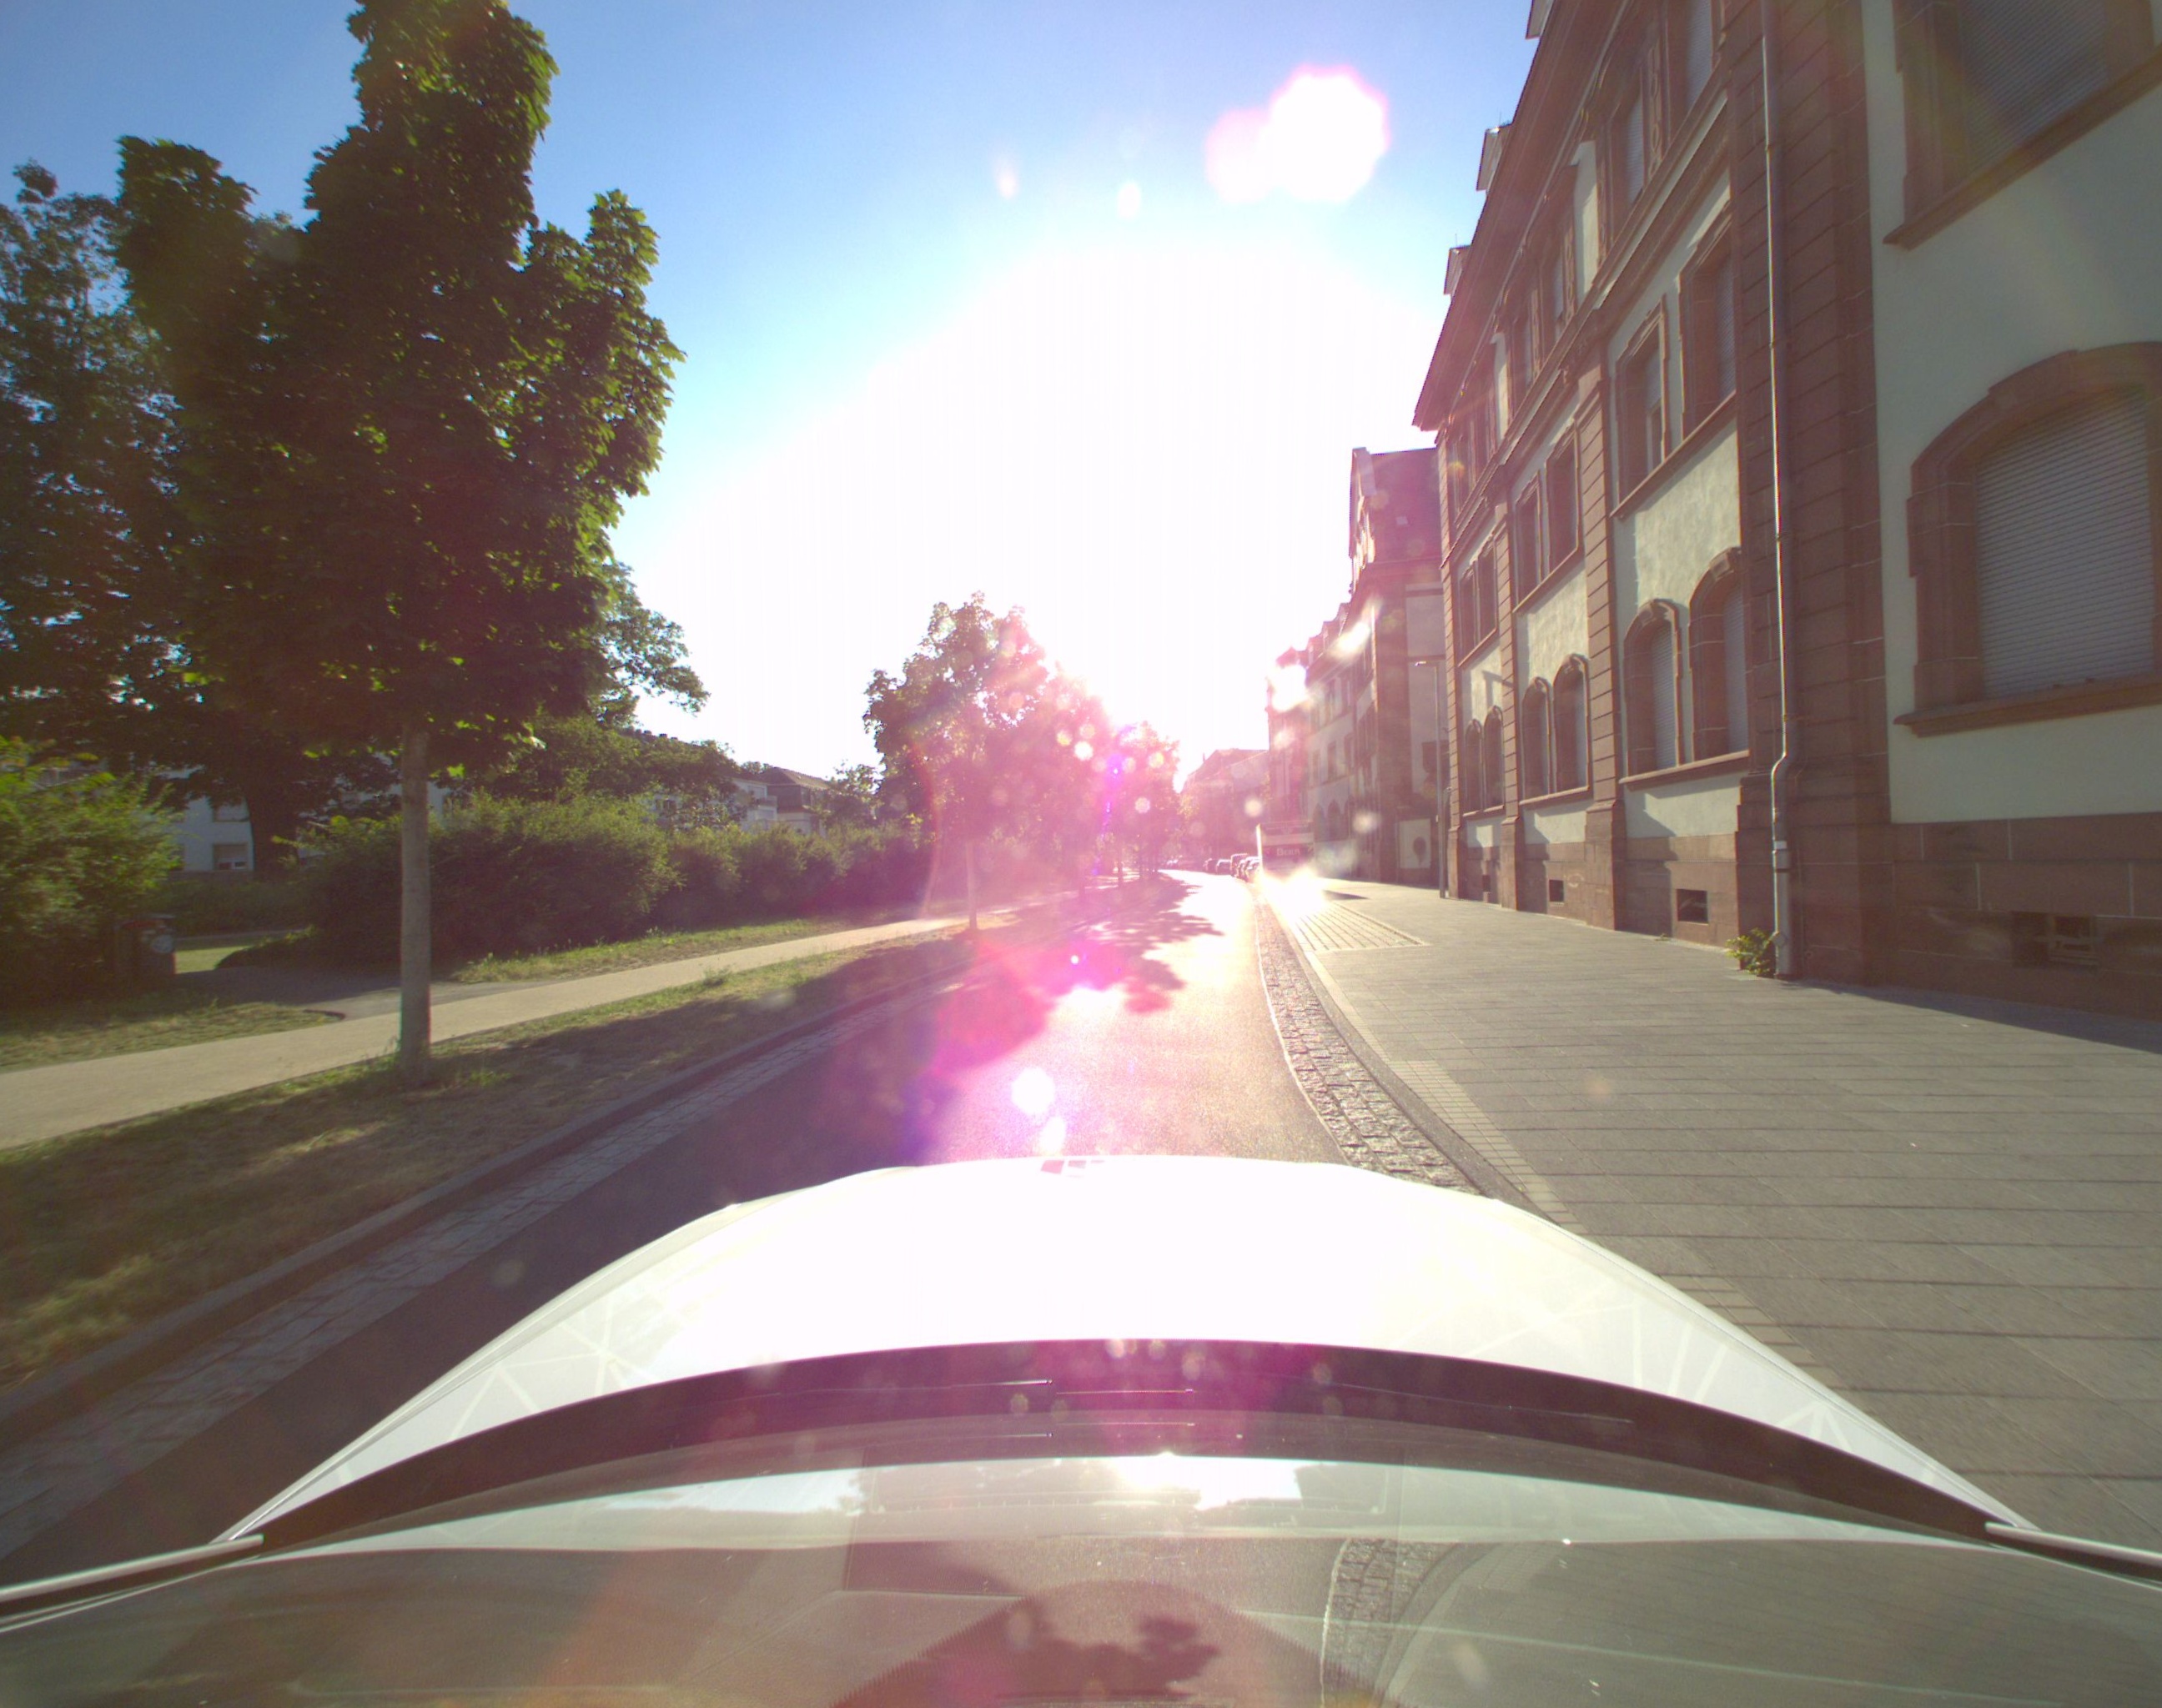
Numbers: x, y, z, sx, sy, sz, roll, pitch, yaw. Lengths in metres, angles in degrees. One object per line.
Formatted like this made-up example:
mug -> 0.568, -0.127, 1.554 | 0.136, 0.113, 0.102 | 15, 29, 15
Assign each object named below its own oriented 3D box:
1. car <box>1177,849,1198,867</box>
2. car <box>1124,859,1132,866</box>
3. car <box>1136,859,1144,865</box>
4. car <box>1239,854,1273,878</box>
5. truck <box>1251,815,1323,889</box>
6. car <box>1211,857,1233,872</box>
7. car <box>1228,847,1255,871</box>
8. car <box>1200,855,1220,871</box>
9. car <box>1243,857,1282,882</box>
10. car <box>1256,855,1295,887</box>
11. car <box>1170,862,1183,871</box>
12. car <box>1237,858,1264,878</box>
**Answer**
car -> 16.396, 0.619, 125.293 | 2.205, 2.530, 6.145 | -4, -1, -1
car -> 12.338, 2.250, 214.992 | 1.788, 1.724, 3.998 | -1, -1, -1
car -> 14.485, 2.001, 200.748 | 1.787, 1.510, 4.002 | -1, -1, 2
car -> 12.472, 0.859, 58.369 | 1.807, 1.602, 4.198 | -3, -1, 5
truck -> 9.545, -0.122, 38.358 | 2.608, 3.120, 6.102 | -2, 0, 9
car -> 14.841, 1.098, 86.071 | 1.740, 1.466, 4.480 | -1, 0, 2
car -> 14.570, 0.446, 74.169 | 1.982, 1.966, 4.859 | -5, -1, 8
car -> 15.292, 1.059, 96.544 | 1.718, 1.669, 4.115 | -3, 0, 1
car -> 11.739, 0.961, 52.919 | 1.862, 1.436, 4.530 | -3, -1, 6
car -> 10.446, 0.873, 43.964 | 1.757, 1.530, 4.586 | -4, -1, 11
car -> 16.030, 2.133, 136.707 | 1.686, 1.440, 3.547 | -3, -1, -2
car -> 13.230, 1.103, 63.889 | 1.670, 1.403, 4.208 | -3, -1, 7
